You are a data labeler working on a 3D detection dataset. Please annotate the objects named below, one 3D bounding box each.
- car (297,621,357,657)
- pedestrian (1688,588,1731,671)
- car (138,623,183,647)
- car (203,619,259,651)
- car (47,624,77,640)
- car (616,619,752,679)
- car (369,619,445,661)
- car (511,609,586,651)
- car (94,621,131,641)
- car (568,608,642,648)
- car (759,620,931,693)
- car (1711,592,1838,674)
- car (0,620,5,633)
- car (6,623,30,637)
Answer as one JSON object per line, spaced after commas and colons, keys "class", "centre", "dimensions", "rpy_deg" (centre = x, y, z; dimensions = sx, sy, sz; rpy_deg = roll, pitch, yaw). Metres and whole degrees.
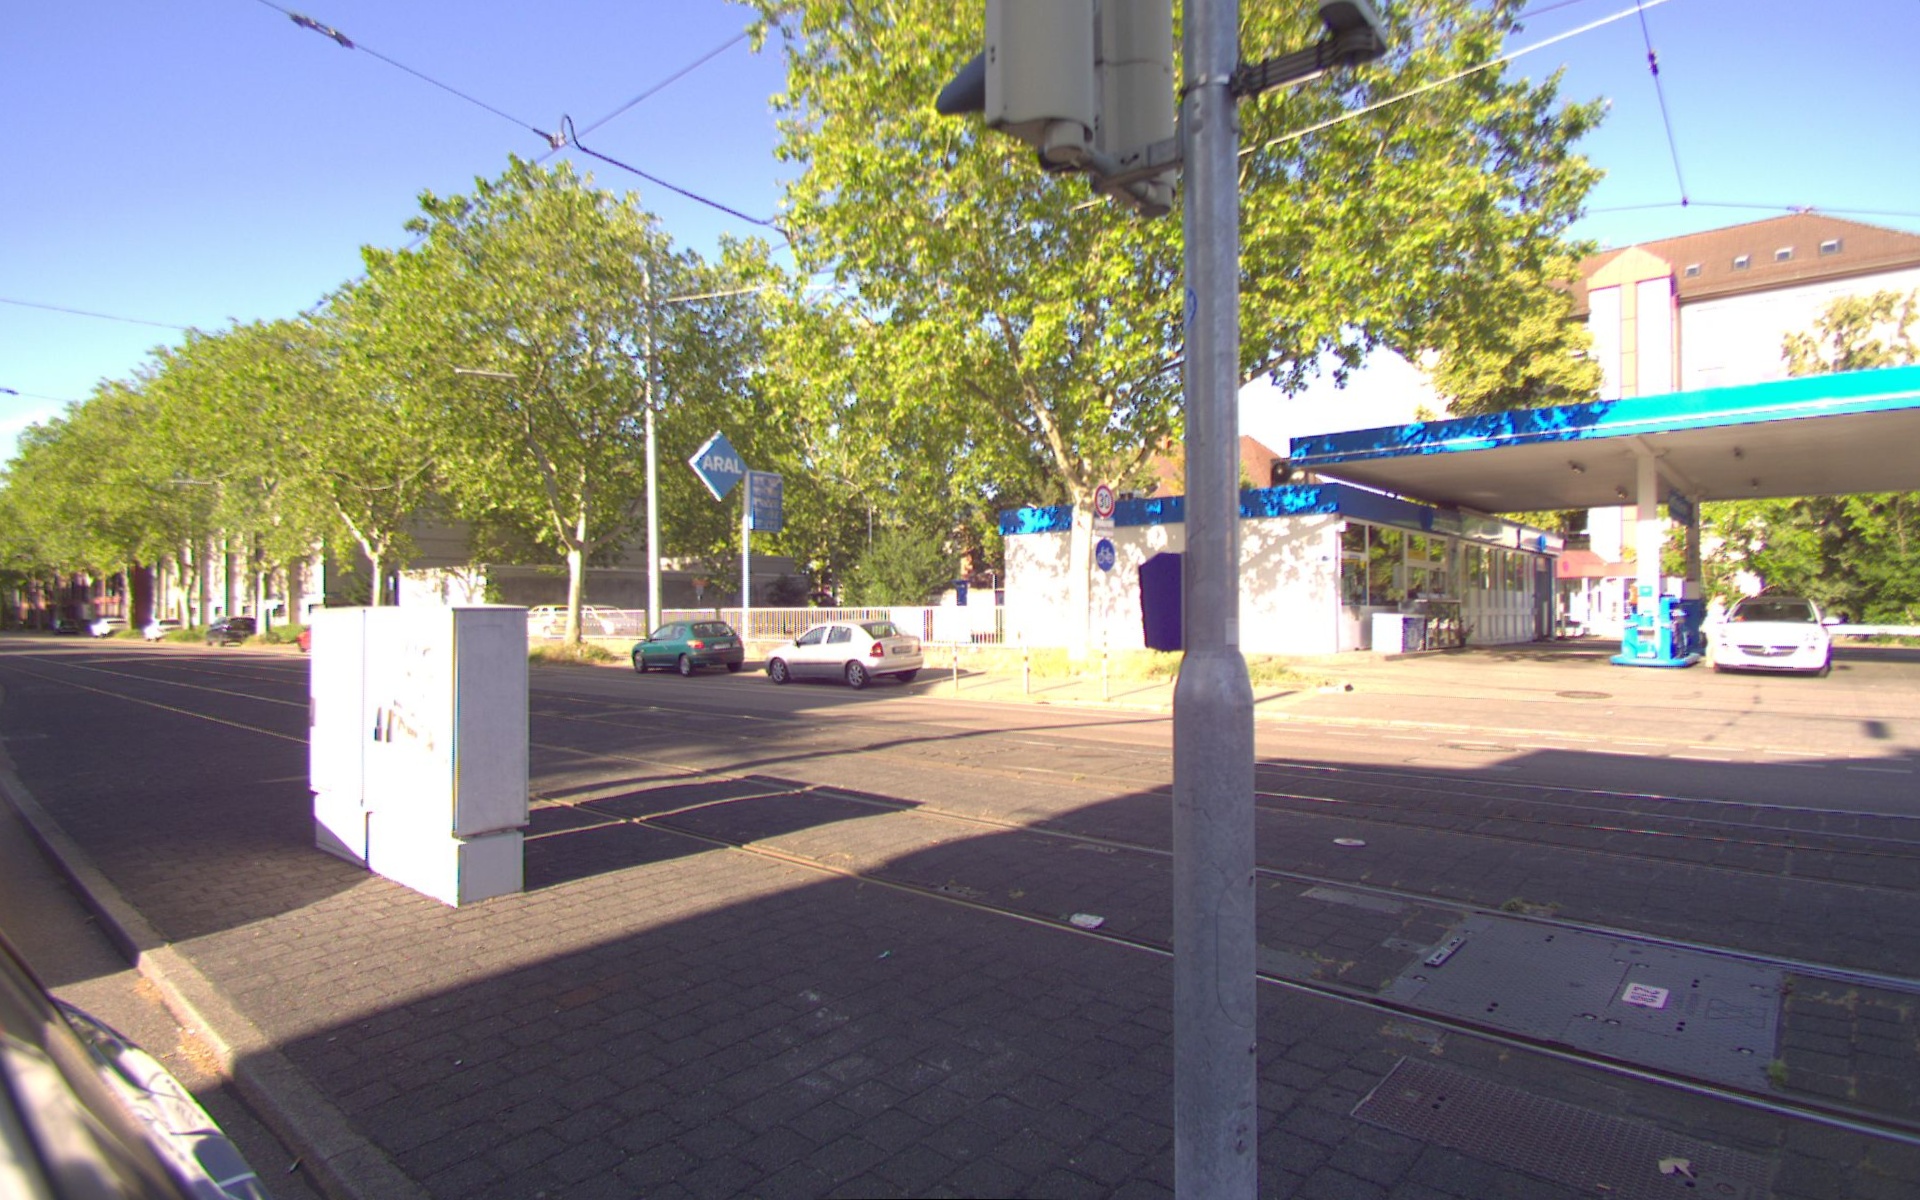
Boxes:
{"class": "car", "centre": [-28.683, 1.757, 45.819], "dimensions": [2.621, 1.519, 1.579], "rpy_deg": [-1, 1, 41]}
{"class": "pedestrian", "centre": [15.947, 0.623, 21.541], "dimensions": [0.493, 1.714, 0.649], "rpy_deg": [1, -2, -45]}
{"class": "car", "centre": [-53.858, 2.344, 68.168], "dimensions": [3.748, 1.459, 1.674], "rpy_deg": [-1, 1, 41]}
{"class": "car", "centre": [-40.673, 1.941, 56.442], "dimensions": [3.748, 1.670, 1.674], "rpy_deg": [-1, 1, 41]}
{"class": "car", "centre": [-85.236, 3.033, 96.033], "dimensions": [3.748, 1.459, 1.674], "rpy_deg": [-1, 1, 41]}
{"class": "car", "centre": [-7.397, 1.266, 26.961], "dimensions": [3.748, 1.413, 1.674], "rpy_deg": [-1, 1, 41]}
{"class": "car", "centre": [-21.873, 1.558, 39.992], "dimensions": [3.303, 1.519, 1.579], "rpy_deg": [-1, 1, 41]}
{"class": "car", "centre": [-17.081, 1.231, 41.960], "dimensions": [3.303, 1.628, 1.579], "rpy_deg": [-1, 0, 41]}
{"class": "car", "centre": [-66.675, 2.449, 79.595], "dimensions": [3.748, 1.459, 1.674], "rpy_deg": [-1, 1, 41]}
{"class": "car", "centre": [-15.262, 1.196, 43.437], "dimensions": [3.303, 1.604, 1.579], "rpy_deg": [-1, 0, 41]}
{"class": "car", "centre": [-2.633, 1.205, 22.632], "dimensions": [3.812, 1.413, 1.674], "rpy_deg": [-1, 1, 41]}
{"class": "car", "centre": [15.889, 0.610, 19.686], "dimensions": [1.757, 1.453, 3.521], "rpy_deg": [-1, -1, 41]}
{"class": "car", "centre": [-133.927, 3.683, 140.460], "dimensions": [3.748, 1.798, 1.674], "rpy_deg": [-1, 1, 41]}
{"class": "car", "centre": [-112.136, 3.568, 120.494], "dimensions": [3.748, 1.459, 1.674], "rpy_deg": [-1, 1, 41]}
